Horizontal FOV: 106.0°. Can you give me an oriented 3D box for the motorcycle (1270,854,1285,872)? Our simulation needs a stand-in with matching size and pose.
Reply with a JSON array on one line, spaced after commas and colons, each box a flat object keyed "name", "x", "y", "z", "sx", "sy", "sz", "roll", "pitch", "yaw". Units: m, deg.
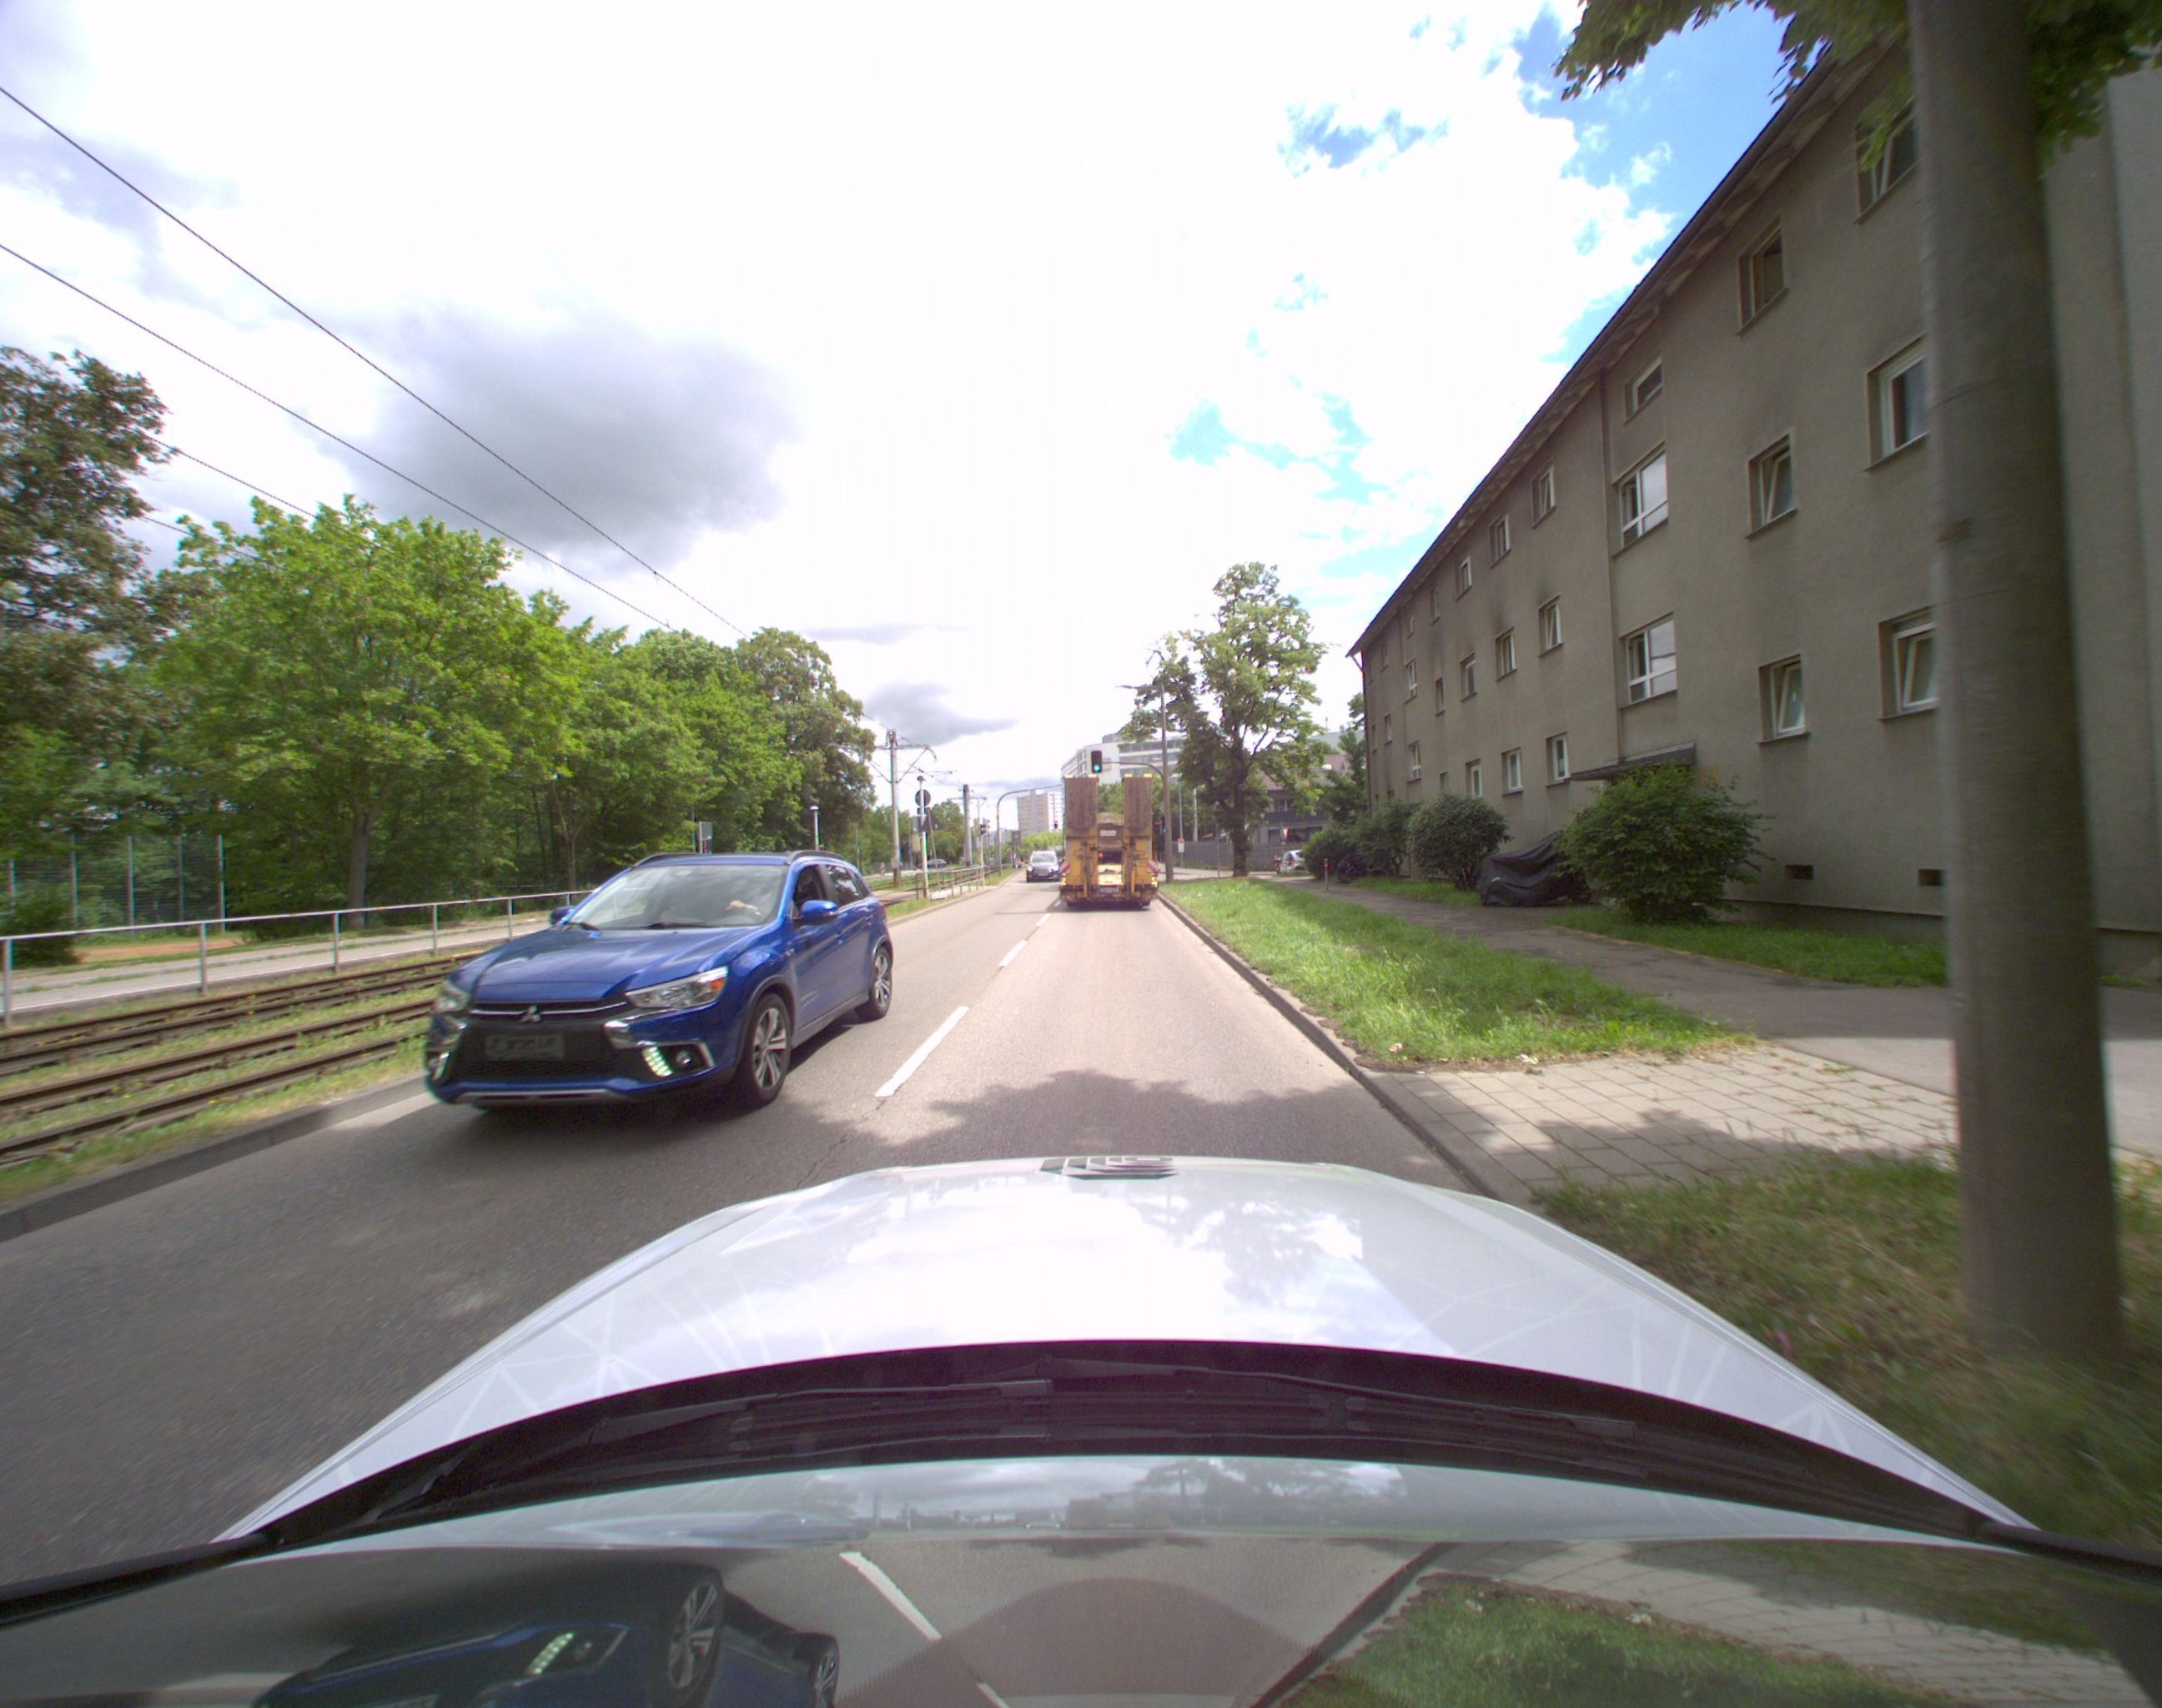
[{"name": "motorcycle", "x": 12.637, "y": 0.565, "z": 52.308, "sx": 0.653, "sy": 1.149, "sz": 2.437, "roll": -1, "pitch": 0, "yaw": 20}]

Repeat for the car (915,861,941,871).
[{"name": "car", "x": -24.513, "y": 1.997, "z": 130.818, "sx": 3.984, "sy": 1.552, "sz": 1.994, "roll": 0, "pitch": 0, "yaw": -8}]

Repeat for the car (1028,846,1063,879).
[{"name": "car", "x": -1.877, "y": 0.429, "z": 43.977, "sx": 1.702, "sy": 1.676, "sz": 4.228, "roll": -1, "pitch": 0, "yaw": 0}]

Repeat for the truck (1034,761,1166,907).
[{"name": "truck", "x": 0.522, "y": -0.470, "z": 26.935, "sx": 3.305, "sy": 3.651, "sz": 12.560, "roll": -1, "pitch": 0, "yaw": 0}]

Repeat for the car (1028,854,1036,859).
[{"name": "car", "x": -12.516, "y": 0.644, "z": 209.191, "sx": 1.990, "sy": 1.420, "sz": 3.993, "roll": 0, "pitch": 0, "yaw": -5}]

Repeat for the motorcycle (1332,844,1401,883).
[{"name": "motorcycle", "x": 10.222, "y": 0.348, "z": 29.230, "sx": 2.191, "sy": 1.282, "sz": 0.682, "roll": -2, "pitch": -1, "yaw": 9}]

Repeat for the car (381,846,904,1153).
[{"name": "car", "x": -2.722, "y": 0.733, "z": 6.302, "sx": 1.707, "sy": 1.566, "sz": 4.167, "roll": -1, "pitch": 1, "yaw": 1}]

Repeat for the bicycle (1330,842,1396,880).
[{"name": "bicycle", "x": 10.346, "y": 0.263, "z": 29.937, "sx": 2.154, "sy": 1.282, "sz": 0.682, "roll": -2, "pitch": -1, "yaw": 9}]

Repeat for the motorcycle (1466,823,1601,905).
[{"name": "motorcycle", "x": 8.492, "y": 0.186, "z": 15.402, "sx": 1.984, "sy": 1.429, "sz": 1.020, "roll": -2, "pitch": 0, "yaw": 12}]

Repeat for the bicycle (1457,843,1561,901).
[{"name": "bicycle", "x": 8.578, "y": 0.357, "z": 16.364, "sx": 1.788, "sy": 1.085, "sz": 0.456, "roll": -2, "pitch": 0, "yaw": 6}]

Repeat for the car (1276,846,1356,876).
[{"name": "car", "x": 13.372, "y": 0.373, "z": 46.500, "sx": 3.982, "sy": 1.554, "sz": 1.935, "roll": -1, "pitch": 0, "yaw": -7}]
